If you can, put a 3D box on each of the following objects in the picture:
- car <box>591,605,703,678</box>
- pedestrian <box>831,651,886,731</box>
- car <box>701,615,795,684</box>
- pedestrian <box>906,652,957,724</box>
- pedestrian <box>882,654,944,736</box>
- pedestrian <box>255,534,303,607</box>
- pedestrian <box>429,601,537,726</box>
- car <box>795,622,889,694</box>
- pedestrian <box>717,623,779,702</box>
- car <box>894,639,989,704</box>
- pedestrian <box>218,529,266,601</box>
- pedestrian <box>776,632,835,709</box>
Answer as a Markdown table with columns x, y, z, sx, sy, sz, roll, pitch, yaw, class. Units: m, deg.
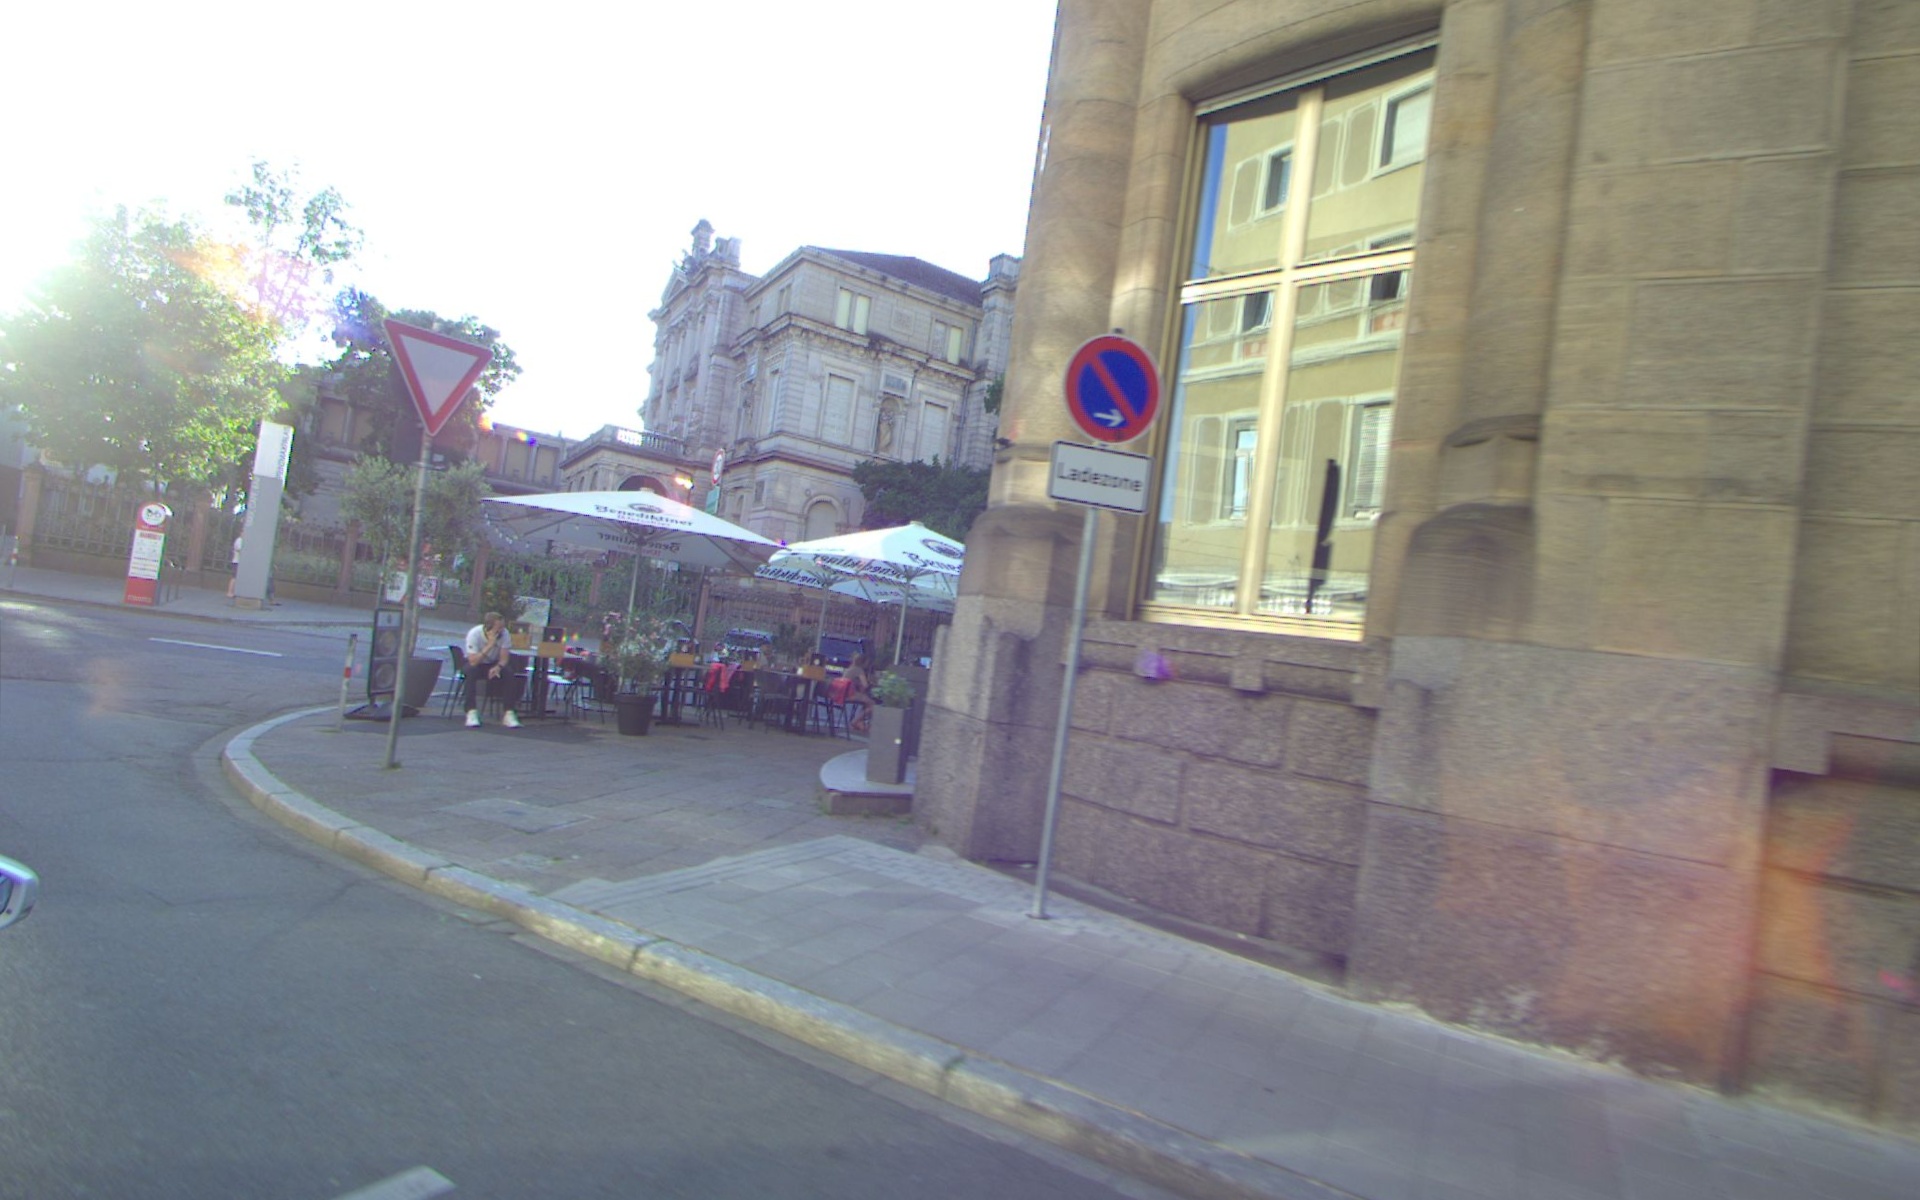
| x | y | z | sx | sy | sz | roll | pitch | yaw | class |
| --- | --- | --- | --- | --- | --- | --- | --- | --- | --- |
| -8.290 | 1.040 | 26.974 | 1.724 | 1.465 | 3.906 | 8 | 1 | -2 | car |
| -1.669 | 1.482 | 16.475 | 0.567 | 1.202 | 0.597 | 9 | -2 | -27 | pedestrian |
| -5.879 | 1.331 | 28.342 | 1.724 | 1.544 | 3.998 | 8 | 0 | -2 | car |
| -0.526 | 1.663 | 19.046 | 0.590 | 1.259 | 0.687 | 8 | -2 | 20 | pedestrian |
| -0.794 | 1.596 | 16.952 | 0.678 | 1.259 | 0.597 | 9 | -2 | -27 | pedestrian |
| -17.055 | -0.740 | 25.200 | 0.702 | 1.689 | 0.634 | 10 | -1 | -44 | pedestrian |
| -5.136 | 0.683 | 10.833 | 0.810 | 1.202 | 0.606 | 7 | -2 | 39 | pedestrian |
| -3.359 | 1.687 | 29.514 | 1.722 | 1.740 | 4.005 | 8 | -2 | 6 | car |
| -3.641 | 1.088 | 17.316 | 0.590 | 1.259 | 0.687 | 8 | -2 | 20 | pedestrian |
| -0.482 | 2.218 | 30.540 | 1.722 | 1.625 | 4.009 | 7 | -4 | 14 | car |
| -18.161 | -0.892 | 25.438 | 0.702 | 1.689 | 0.634 | 10 | -1 | -44 | pedestrian |
| -2.718 | 1.253 | 17.747 | 0.590 | 1.259 | 0.687 | 8 | -2 | 20 | pedestrian |
